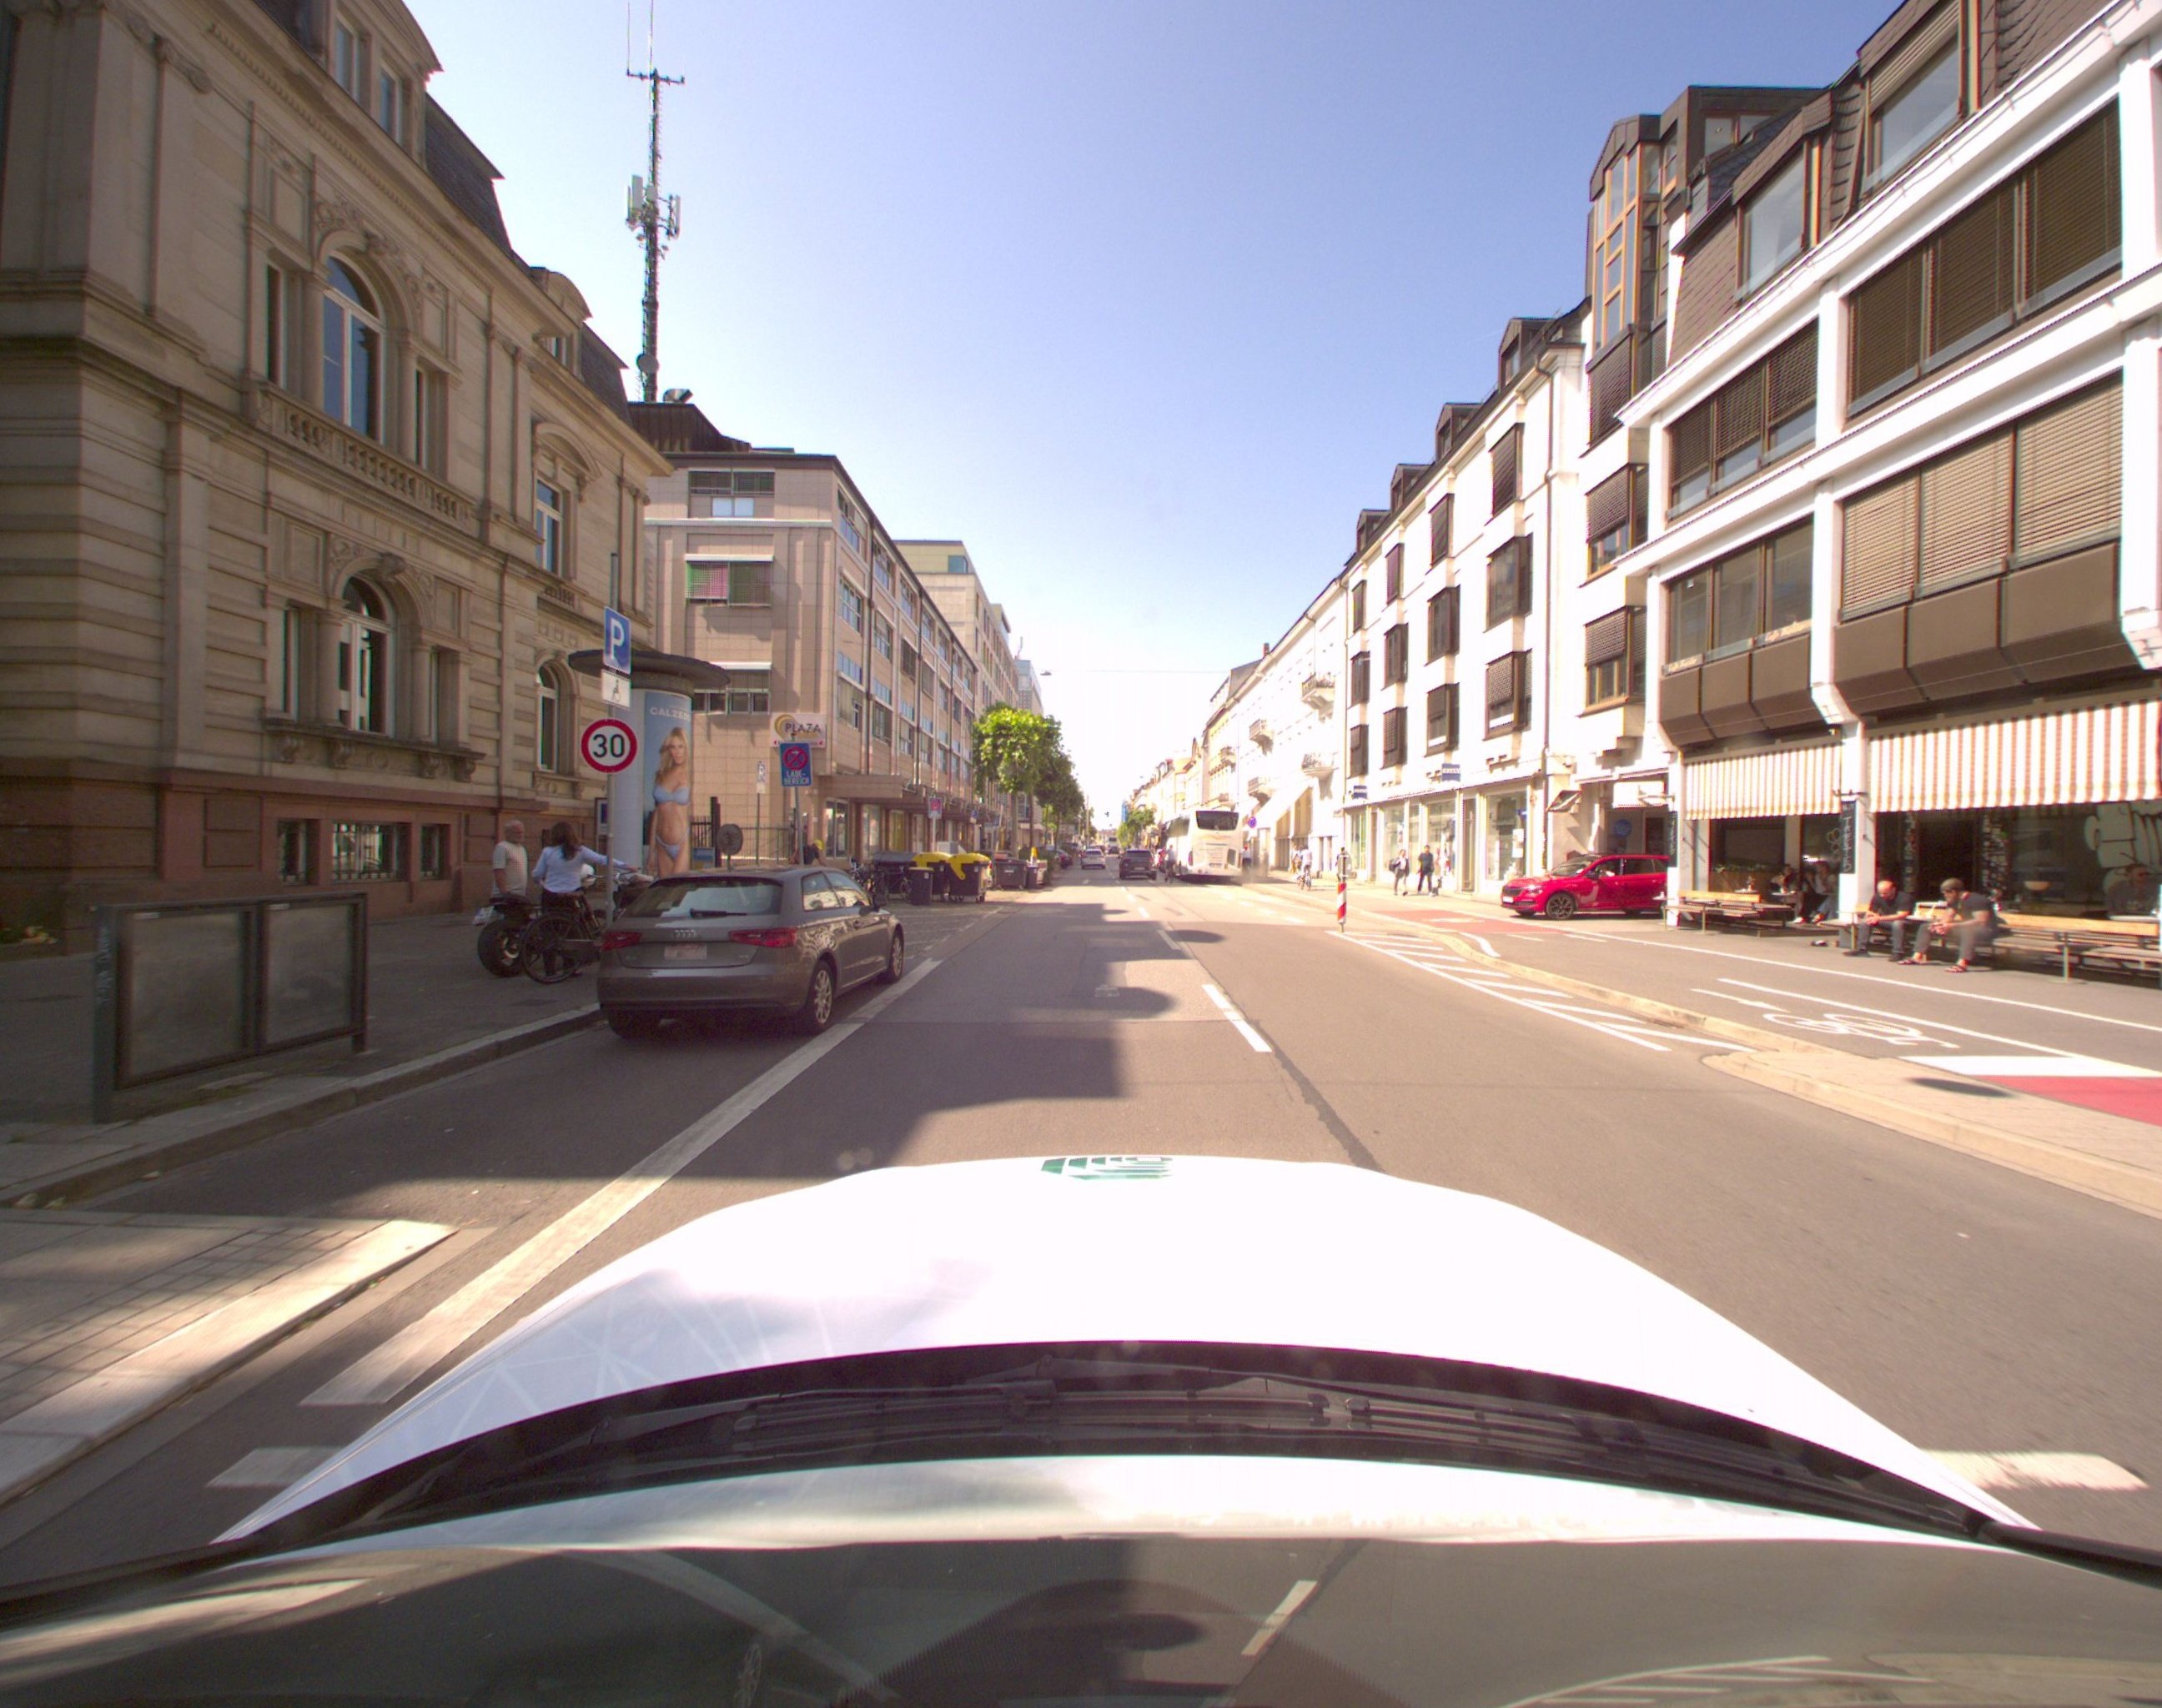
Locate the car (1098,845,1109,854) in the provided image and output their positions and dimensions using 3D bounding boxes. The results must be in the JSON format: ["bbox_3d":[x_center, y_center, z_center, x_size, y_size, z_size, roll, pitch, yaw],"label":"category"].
[{"bbox_3d":[3.928,-0.804,142.553,1.857,1.441,3.999,-1,-1,0],"label":"car"}]

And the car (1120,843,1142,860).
[{"bbox_3d":[4.584,-0.214,75.033,1.827,1.527,4.000,-1,-1,1],"label":"car"}]

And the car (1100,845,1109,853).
[{"bbox_3d":[4.652,-0.900,161.474,1.857,1.441,3.999,-1,-1,0],"label":"car"}]

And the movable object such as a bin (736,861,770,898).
[{"bbox_3d":[-7.919,0.617,19.682,0.654,0.876,0.510,-1,-2,-7],"label":"movable object such as a bin"}]

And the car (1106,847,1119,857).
[{"bbox_3d":[4.735,-0.297,124.131,1.857,1.441,4.000,0,1,0],"label":"car"}]

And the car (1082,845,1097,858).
[{"bbox_3d":[1.058,-0.326,98.855,1.737,1.441,4.001,0,1,1],"label":"car"}]

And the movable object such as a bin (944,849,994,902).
[{"bbox_3d":[-3.338,0.625,24.442,1.118,1.450,1.441,2,1,7],"label":"movable object such as a bin"}]

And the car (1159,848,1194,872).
[{"bbox_3d":[6.287,0.357,54.146,1.852,1.469,5.228,2,1,2],"label":"car"}]

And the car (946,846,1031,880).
[{"bbox_3d":[-4.562,0.389,39.825,4.007,1.494,1.947,2,2,42],"label":"car"}]

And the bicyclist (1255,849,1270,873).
[{"bbox_3d":[10.096,0.396,45.204,0.618,1.296,0.866,1,0,-1],"label":"bicyclist"}]

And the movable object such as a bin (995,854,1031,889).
[{"bbox_3d":[-2.608,0.664,31.157,1.272,1.299,0.853,1,0,1],"label":"movable object such as a bin"}]

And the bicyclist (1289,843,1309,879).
[{"bbox_3d":[9.482,0.291,35.459,0.618,1.529,0.869,1,0,-1],"label":"bicyclist"}]

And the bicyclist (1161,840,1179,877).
[{"bbox_3d":[4.160,0.221,38.106,0.692,1.673,0.916,3,1,2],"label":"bicyclist"}]

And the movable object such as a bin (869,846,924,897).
[{"bbox_3d":[-5.592,0.506,24.805,1.202,1.450,1.367,2,1,7],"label":"movable object such as a bin"}]

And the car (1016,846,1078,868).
[{"bbox_3d":[-2.643,0.202,62.370,4.737,1.422,1.895,3,2,41],"label":"car"}]

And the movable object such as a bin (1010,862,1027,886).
[{"bbox_3d":[-2.489,0.788,32.441,0.495,0.939,0.558,-1,1,17],"label":"movable object such as a bin"}]

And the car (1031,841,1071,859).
[{"bbox_3d":[-3.296,-0.431,90.119,3.952,1.568,1.710,6,1,26],"label":"car"}]

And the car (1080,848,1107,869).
[{"bbox_3d":[0.929,0.332,60.344,1.856,1.441,4.000,1,0,1],"label":"car"}]

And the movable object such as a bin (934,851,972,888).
[{"bbox_3d":[-4.872,0.579,31.006,1.204,1.299,1.080,2,2,1],"label":"movable object such as a bin"}]

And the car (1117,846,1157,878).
[{"bbox_3d":[2.823,0.391,41.655,1.827,1.527,4.000,1,0,1],"label":"car"}]

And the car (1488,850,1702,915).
[{"bbox_3d":[12.327,0.679,19.744,4.028,1.495,1.842,0,-2,2],"label":"car"}]

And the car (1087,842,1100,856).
[{"bbox_3d":[1.841,-0.675,122.168,1.857,2.030,4.000,1,-1,0],"label":"car"}]

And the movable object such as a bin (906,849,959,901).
[{"bbox_3d":[-4.456,0.608,24.559,1.118,1.450,1.441,2,1,7],"label":"movable object such as a bin"}]

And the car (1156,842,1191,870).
[{"bbox_3d":[6.753,0.103,59.680,1.823,1.863,4.351,2,1,-2],"label":"car"}]

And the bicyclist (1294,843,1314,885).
[{"bbox_3d":[8.860,0.395,32.408,0.690,1.625,0.838,0,0,10],"label":"bicyclist"}]

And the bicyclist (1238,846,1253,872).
[{"bbox_3d":[8.975,0.264,44.475,0.618,1.370,0.780,1,0,-1],"label":"bicyclist"}]

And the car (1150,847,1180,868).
[{"bbox_3d":[6.657,0.228,65.142,1.808,1.466,4.578,2,2,-1],"label":"car"}]

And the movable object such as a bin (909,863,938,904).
[{"bbox_3d":[-4.453,0.833,23.040,0.722,1.098,0.655,2,1,-7],"label":"movable object such as a bin"}]

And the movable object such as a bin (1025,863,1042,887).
[{"bbox_3d":[-1.908,0.826,32.683,0.556,0.939,0.496,-2,1,-25],"label":"movable object such as a bin"}]

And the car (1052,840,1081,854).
[{"bbox_3d":[-2.522,-1.254,137.316,4.665,2.003,1.953,4,0,41],"label":"car"}]

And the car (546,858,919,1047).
[{"bbox_3d":[-3.065,0.757,8.303,1.930,1.354,4.250,0,1,0],"label":"car"}]

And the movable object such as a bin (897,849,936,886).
[{"bbox_3d":[-6.263,0.507,31.059,1.204,1.299,1.128,2,1,1],"label":"movable object such as a bin"}]

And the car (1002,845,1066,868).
[{"bbox_3d":[-3.463,0.179,59.399,4.698,1.533,2.002,2,1,43],"label":"car"}]
